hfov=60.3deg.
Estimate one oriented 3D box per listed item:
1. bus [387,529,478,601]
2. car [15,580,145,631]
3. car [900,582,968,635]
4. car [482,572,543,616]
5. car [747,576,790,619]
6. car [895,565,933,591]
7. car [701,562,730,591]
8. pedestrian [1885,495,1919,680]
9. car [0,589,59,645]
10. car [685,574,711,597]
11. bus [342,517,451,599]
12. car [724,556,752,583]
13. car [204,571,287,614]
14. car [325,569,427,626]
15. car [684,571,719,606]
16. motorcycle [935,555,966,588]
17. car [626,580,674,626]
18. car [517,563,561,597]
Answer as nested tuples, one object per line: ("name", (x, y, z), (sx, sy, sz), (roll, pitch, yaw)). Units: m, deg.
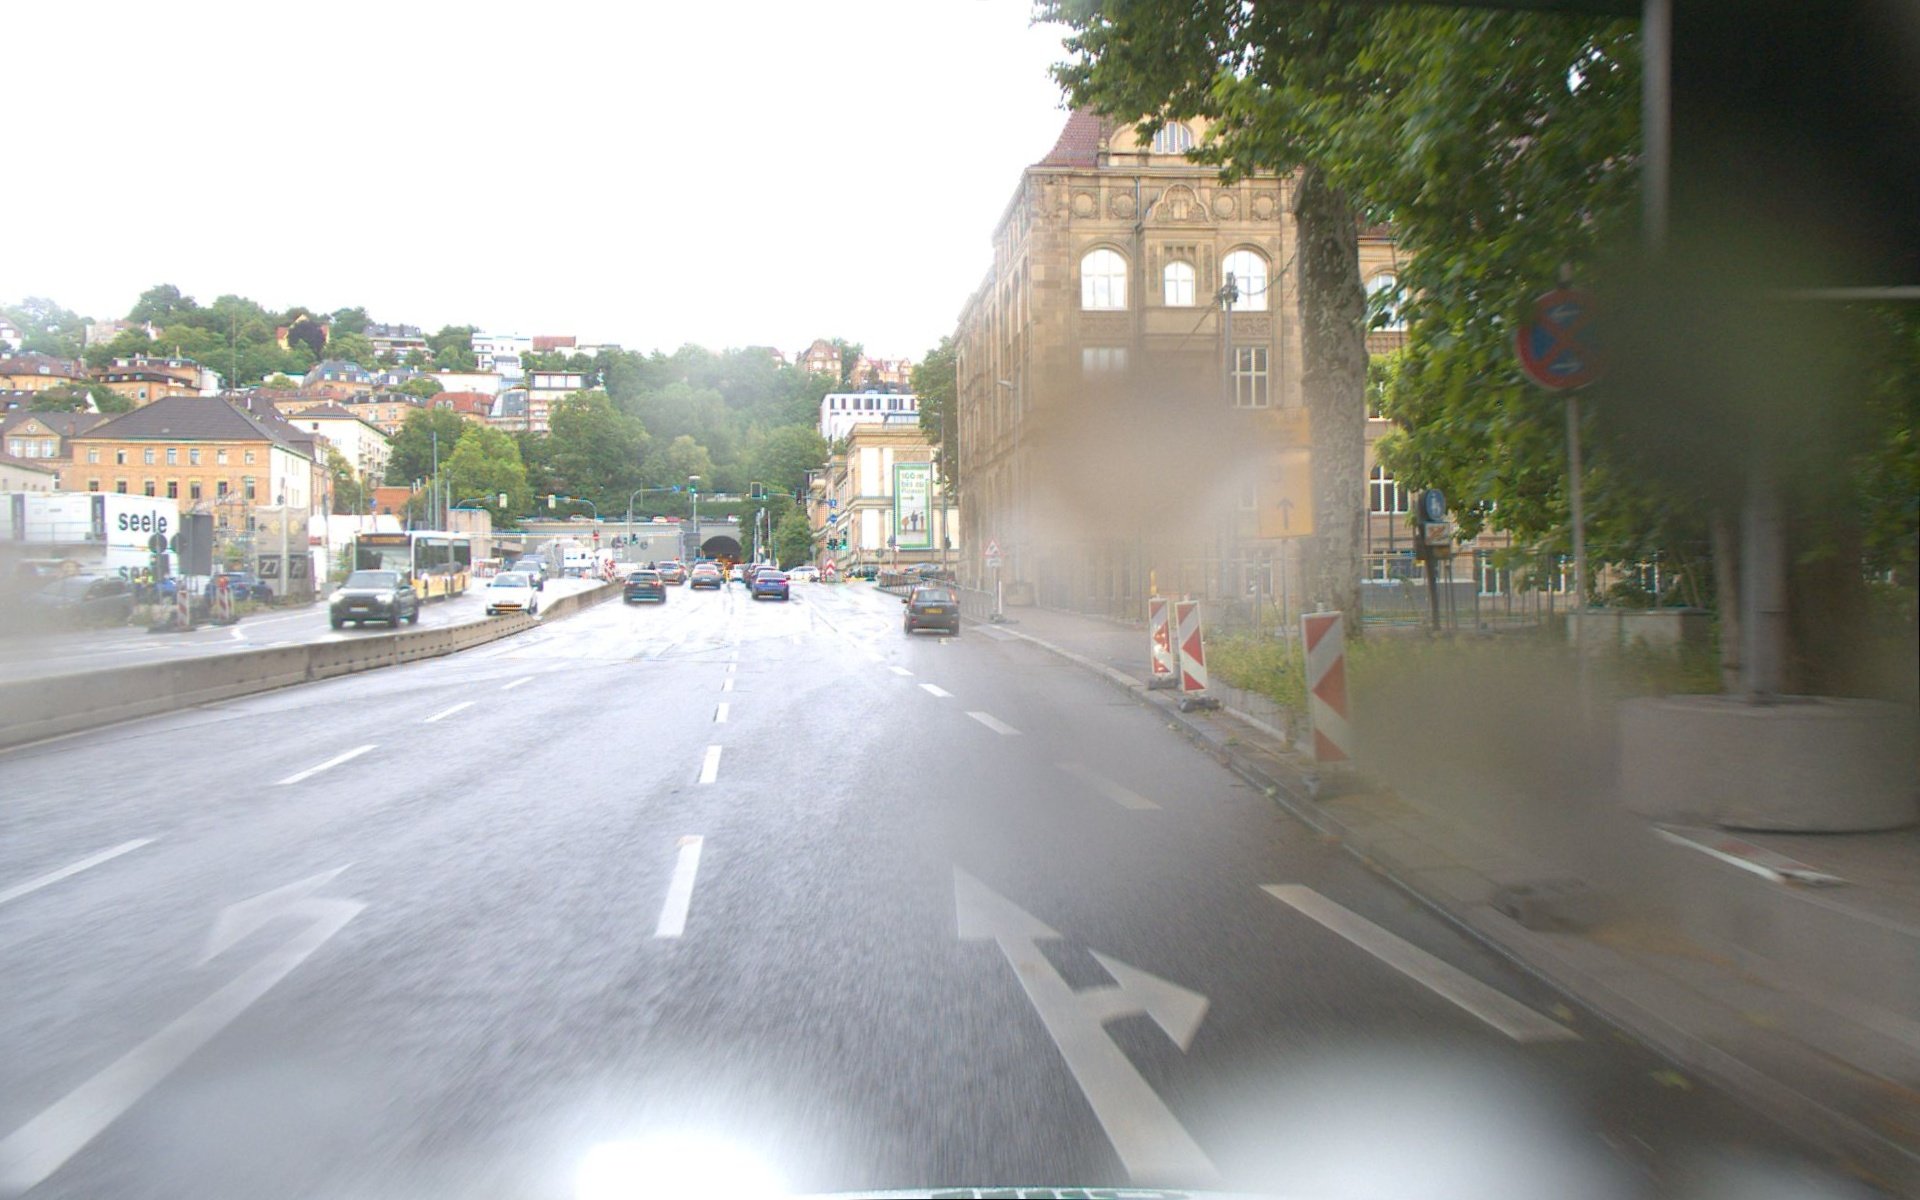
("bus", (-25.245, -1.598, 79.516), (2.653, 3.206, 9.132), (-1, 0, -8))
("car", (-29.253, 0.212, 55.165), (1.725, 1.593, 4.683), (-1, -1, 1))
("car", (-0.862, 0.284, 51.858), (1.777, 1.553, 3.995), (-2, -1, -5))
("car", (-16.647, -0.200, 61.676), (1.677, 1.515, 3.445), (-1, -1, -7))
("car", (-9.828, -0.125, 84.756), (2.066, 2.086, 3.992), (-1, -1, -8))
("car", (-3.663, -1.744, 132.156), (1.951, 2.049, 4.003), (0, 0, 16))
("car", (-17.651, -1.665, 119.281), (1.957, 1.902, 3.990), (-1, -1, -10))
("pedestrian", (11.128, -0.144, 18.578), (1.044, 2.049, 1.022), (-1, 1, -43))
("car", (-29.185, 0.496, 50.154), (1.728, 1.593, 4.171), (-1, 1, -6))
("car", (-24.805, -1.380, 156.333), (2.251, 2.049, 4.592), (-1, -1, -10))
("bus", (-23.918, -1.685, 70.625), (2.754, 3.240, 8.790), (-1, 0, -8))
("car", (-18.146, -2.486, 135.092), (1.958, 2.049, 3.988), (-1, 0, -12))
("car", (-29.708, -0.343, 68.862), (1.954, 1.650, 3.997), (-1, 2, -5))
("car", (-18.121, -0.099, 51.537), (2.043, 1.659, 4.843), (-1, 1, -8))
("car", (-15.790, -0.685, 100.961), (2.014, 2.049, 3.991), (-1, -1, -9))
("motorcycle", (-0.621, -1.857, 107.216), (1.760, 2.048, 3.810), (-1, 2, -5))
("car", (-14.253, 0.164, 76.137), (1.979, 2.049, 3.992), (-1, -1, -8))
("car", (-23.291, -1.090, 91.648), (2.002, 1.691, 4.921), (-1, -1, -10))
